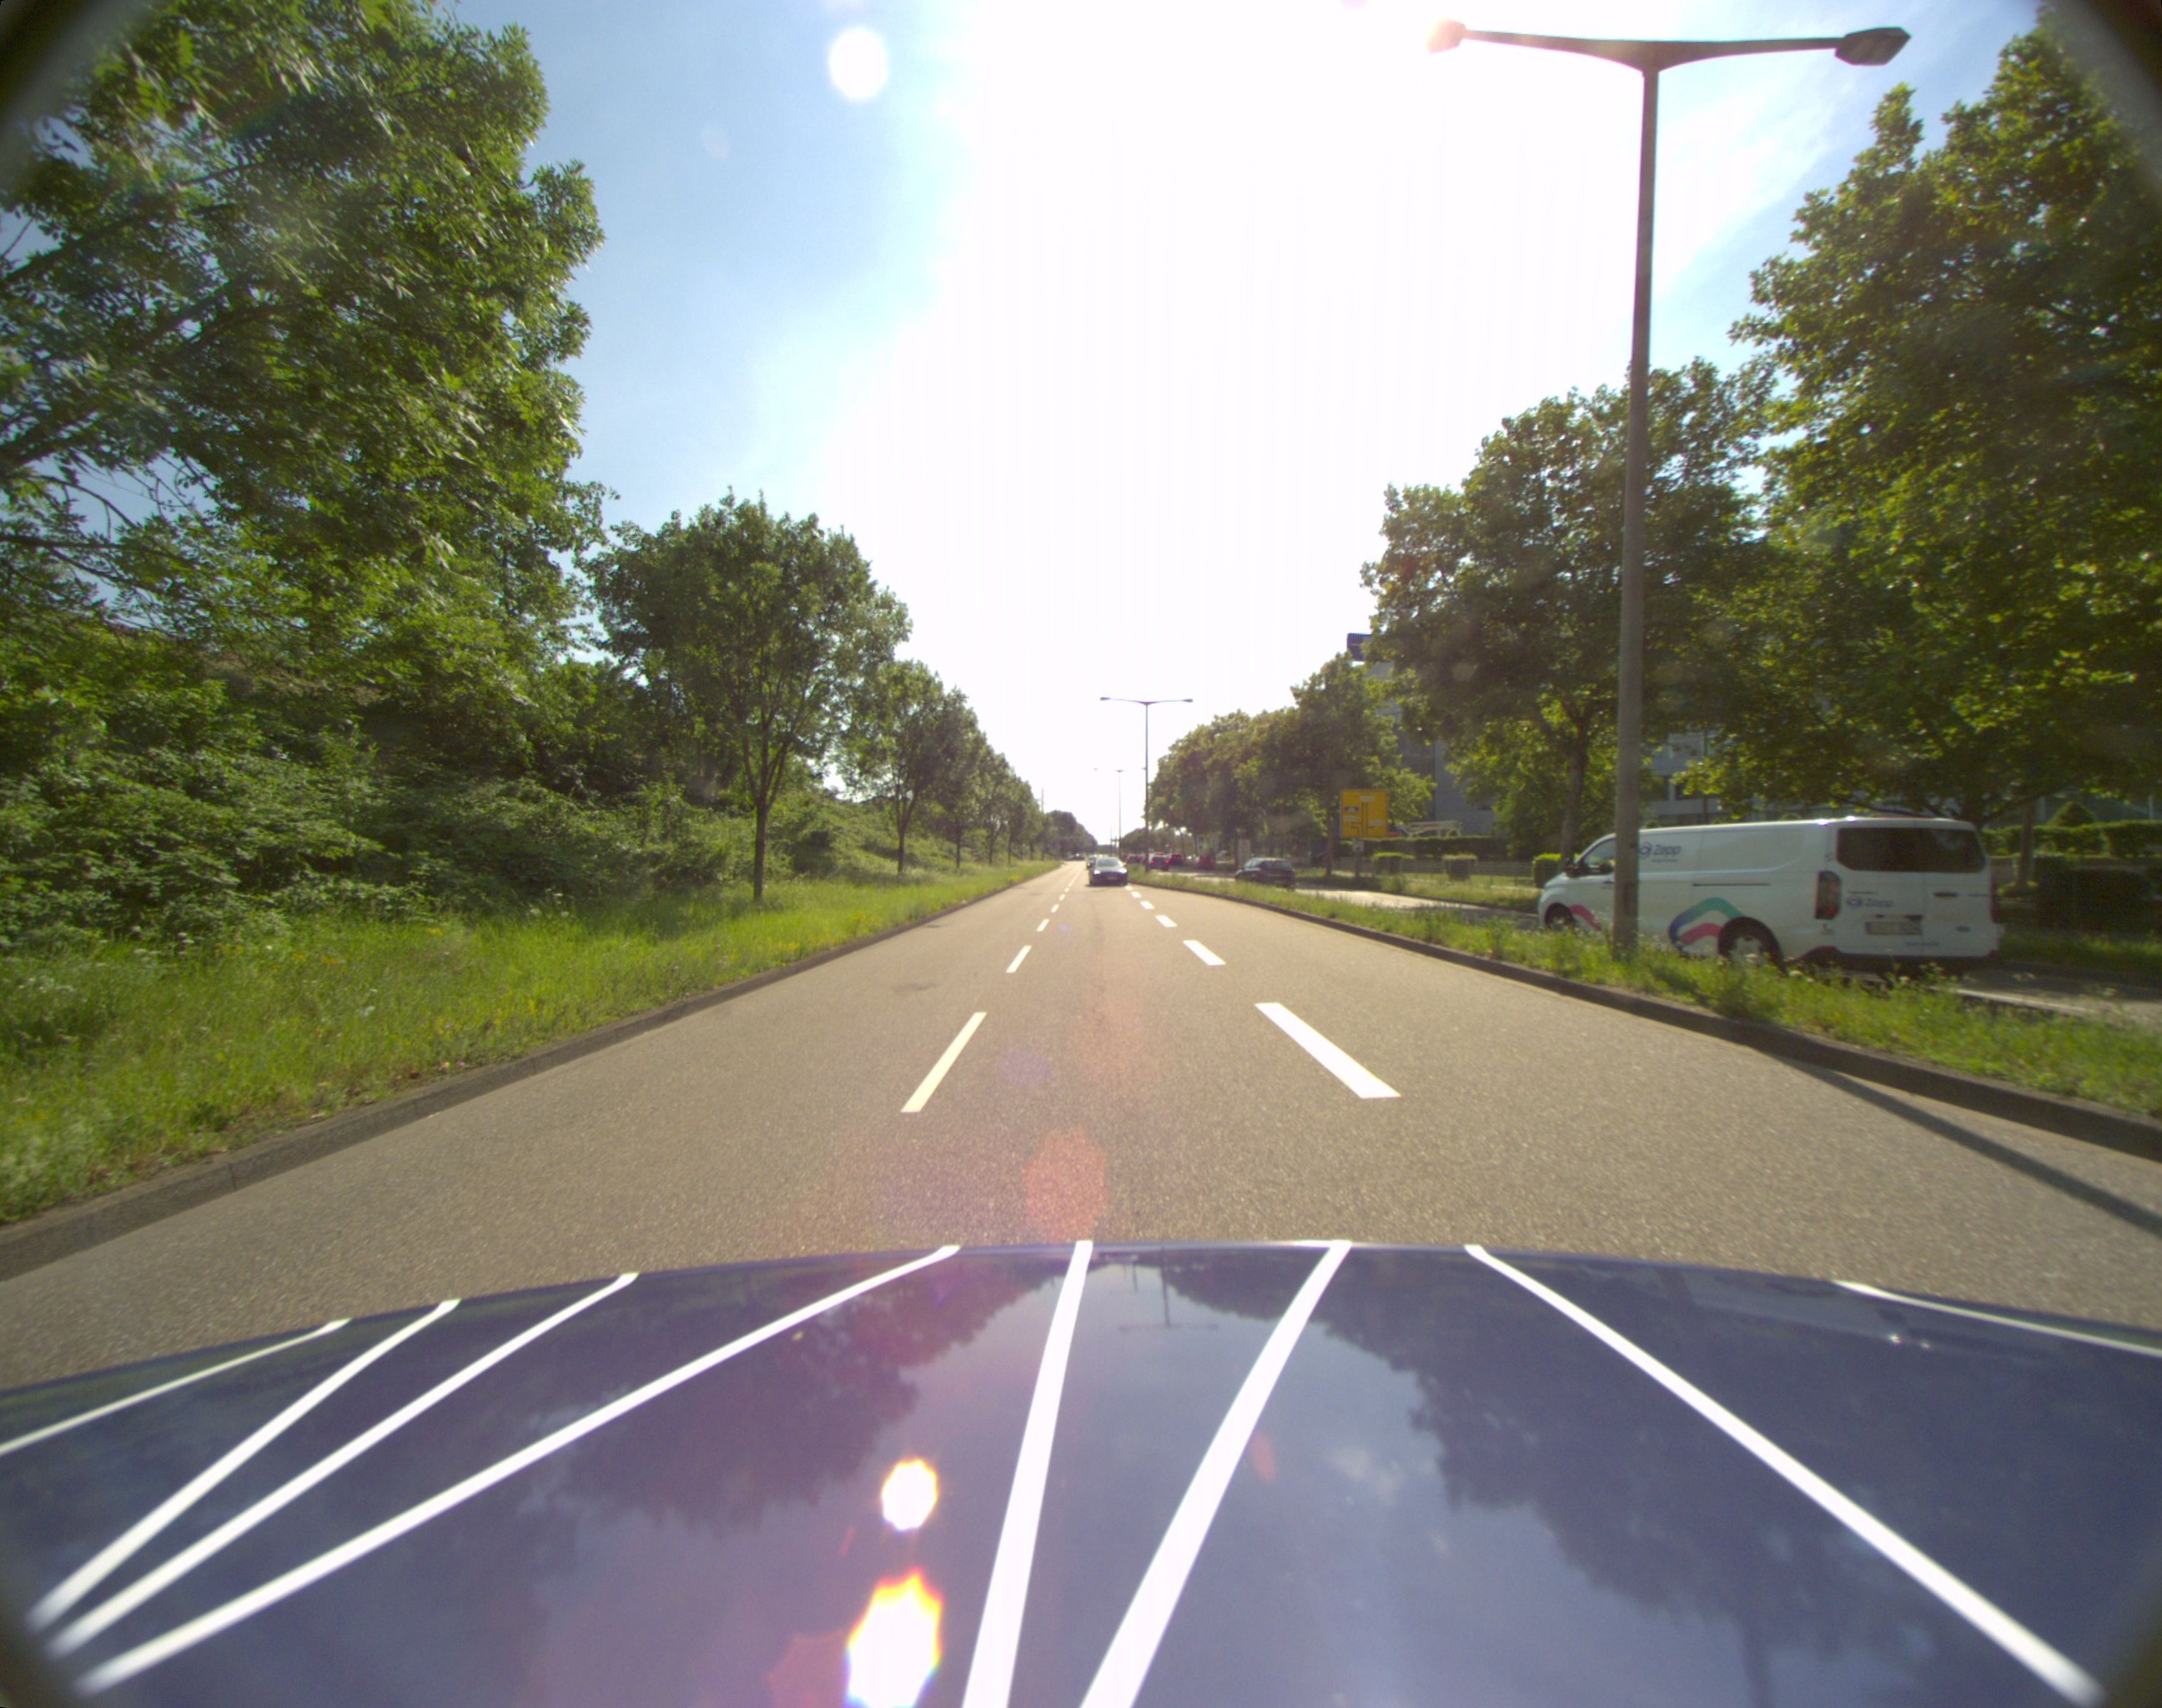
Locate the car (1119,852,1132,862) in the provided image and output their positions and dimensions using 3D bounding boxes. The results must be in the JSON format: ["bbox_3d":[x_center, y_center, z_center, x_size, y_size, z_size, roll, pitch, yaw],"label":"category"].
[{"bbox_3d":[7.118,0.531,122.582,1.812,1.606,4.491,0,0,-1],"label":"car"}]

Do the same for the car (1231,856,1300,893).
[{"bbox_3d":[7.864,0.844,32.808,1.773,1.460,4.282,0,0,-2],"label":"car"}]

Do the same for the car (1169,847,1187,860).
[{"bbox_3d":[13.479,-0.036,105.674,1.998,1.824,4.651,1,0,0],"label":"car"}]

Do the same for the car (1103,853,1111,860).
[{"bbox_3d":[6.431,0.600,187.840,1.714,1.498,4.004,-1,-2,6],"label":"car"}]

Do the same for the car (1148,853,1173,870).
[{"bbox_3d":[7.091,0.661,68.403,1.844,1.470,4.166,0,0,1],"label":"car"}]

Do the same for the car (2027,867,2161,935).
[{"bbox_3d":[24.858,1.036,17.431,3.996,1.456,1.772,0,0,1],"label":"car"}]

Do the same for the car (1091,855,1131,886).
[{"bbox_3d":[1.517,0.828,40.130,1.827,1.497,4.215,0,0,-1],"label":"car"}]

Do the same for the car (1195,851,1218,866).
[{"bbox_3d":[13.026,0.451,79.005,1.768,1.454,4.000,1,0,1],"label":"car"}]

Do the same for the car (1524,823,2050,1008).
[{"bbox_3d":[8.726,0.629,10.399,2.122,1.872,5.419,0,0,-1],"label":"car"}]

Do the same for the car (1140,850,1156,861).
[{"bbox_3d":[9.671,0.216,110.086,1.998,1.601,4.496,0,0,0],"label":"car"}]

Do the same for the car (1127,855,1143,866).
[{"bbox_3d":[6.867,0.821,97.671,1.777,1.459,4.671,1,0,1],"label":"car"}]

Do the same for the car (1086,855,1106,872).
[{"bbox_3d":[1.585,1.006,82.147,1.998,1.699,4.431,0,0,0],"label":"car"}]

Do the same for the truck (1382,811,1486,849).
[{"bbox_3d":[34.035,-2.206,73.585,2.678,3.376,8.965,-1,0,-36],"label":"truck"}]
